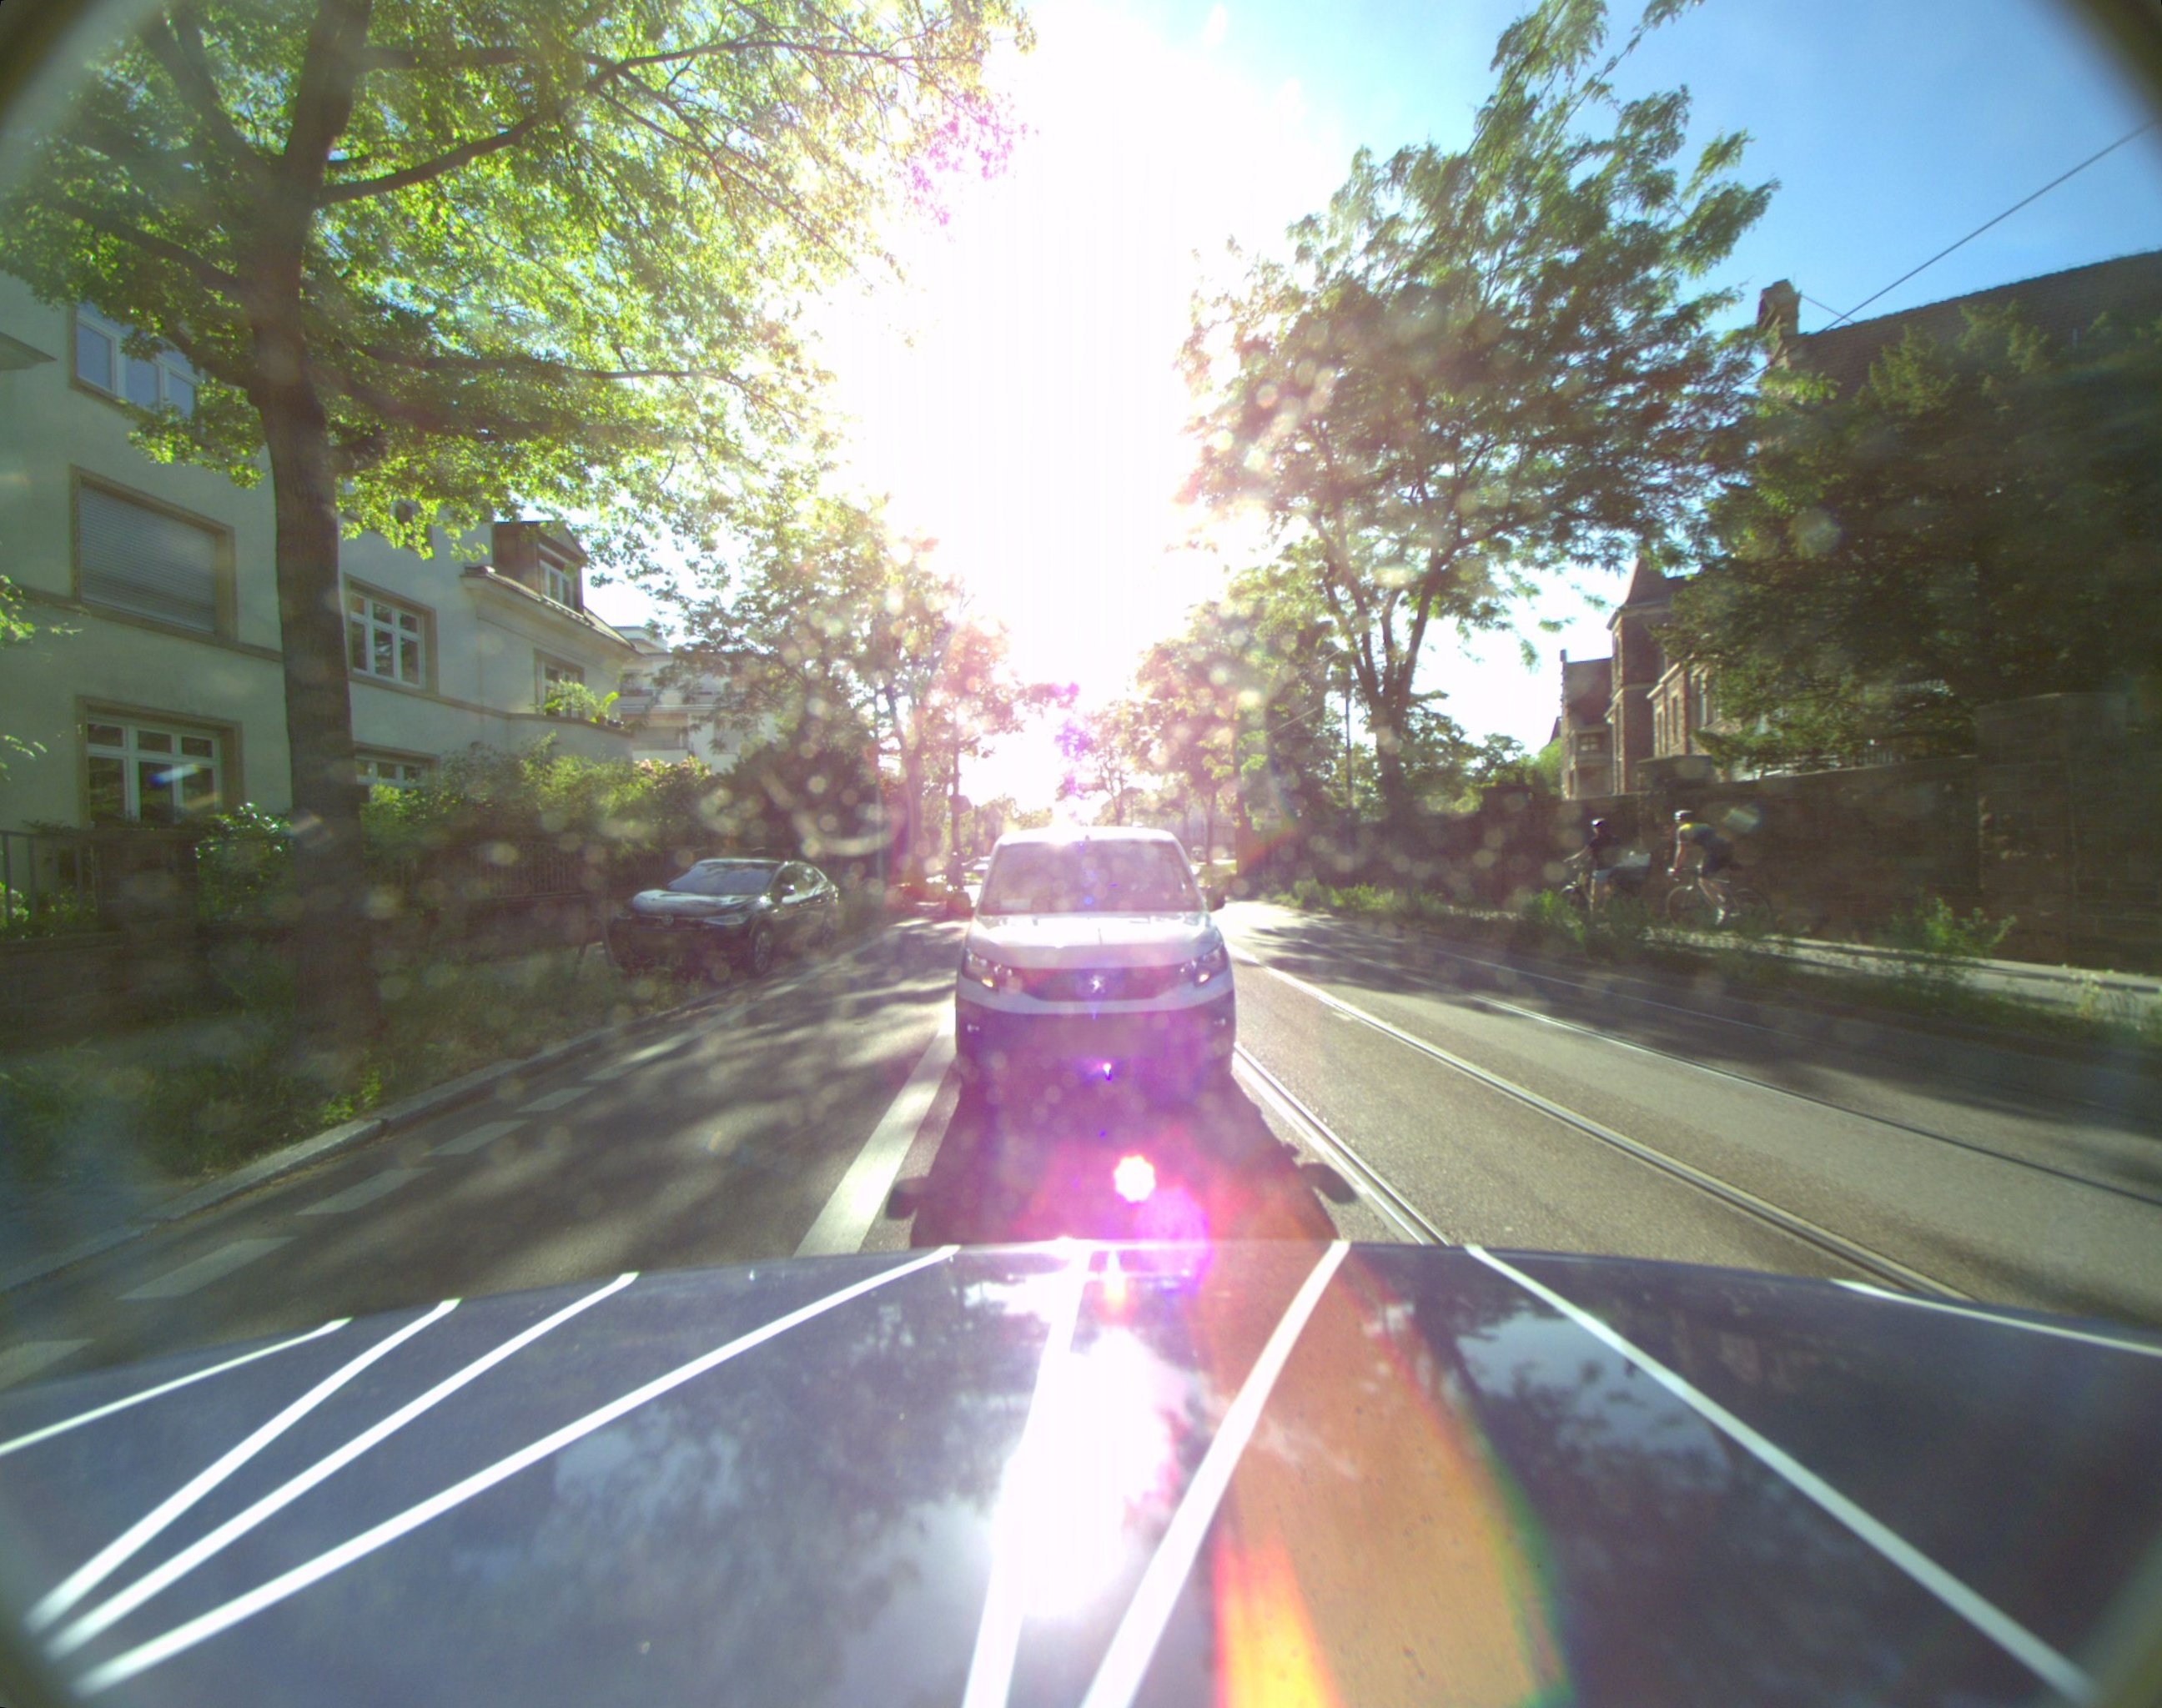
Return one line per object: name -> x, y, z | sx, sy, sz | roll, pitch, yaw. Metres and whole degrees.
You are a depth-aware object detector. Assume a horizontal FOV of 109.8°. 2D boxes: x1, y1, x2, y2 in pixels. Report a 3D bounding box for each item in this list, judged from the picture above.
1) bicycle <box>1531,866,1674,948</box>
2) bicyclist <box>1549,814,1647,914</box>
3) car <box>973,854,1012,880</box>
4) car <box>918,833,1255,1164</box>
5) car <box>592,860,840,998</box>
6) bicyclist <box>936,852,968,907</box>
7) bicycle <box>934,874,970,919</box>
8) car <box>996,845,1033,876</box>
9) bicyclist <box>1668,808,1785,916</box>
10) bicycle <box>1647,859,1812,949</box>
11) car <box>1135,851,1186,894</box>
bicycle -> 7.930, 0.761, 11.692 | 0.686, 1.082, 2.063 | -2, 0, -3
bicyclist -> 7.911, 0.145, 11.682 | 0.655, 1.451, 1.151 | -2, 1, -3
car -> -5.249, 0.749, 45.467 | 1.787, 1.443, 4.000 | -2, 0, 1
car -> 0.050, 0.784, 6.540 | 1.793, 1.770, 4.786 | -2, 0, 0
car -> -5.155, 0.943, 11.434 | 1.743, 1.597, 4.091 | 2, 0, -1
bicyclist -> -3.606, 0.685, 21.265 | 0.623, 1.479, 1.115 | -2, 1, 1
bicycle -> -3.597, 1.170, 21.244 | 0.644, 1.137, 1.815 | -1, 0, 1
car -> -4.497, 0.427, 51.933 | 1.998, 2.002, 4.583 | -2, 0, 1
bicyclist -> 9.242, 0.104, 10.932 | 0.654, 1.451, 1.151 | -2, 1, -3
bicycle -> 9.249, 0.673, 10.952 | 0.686, 1.083, 1.853 | -1, 3, -4
car -> 3.195, 0.706, 31.304 | 1.822, 1.597, 4.360 | -1, 0, 3
